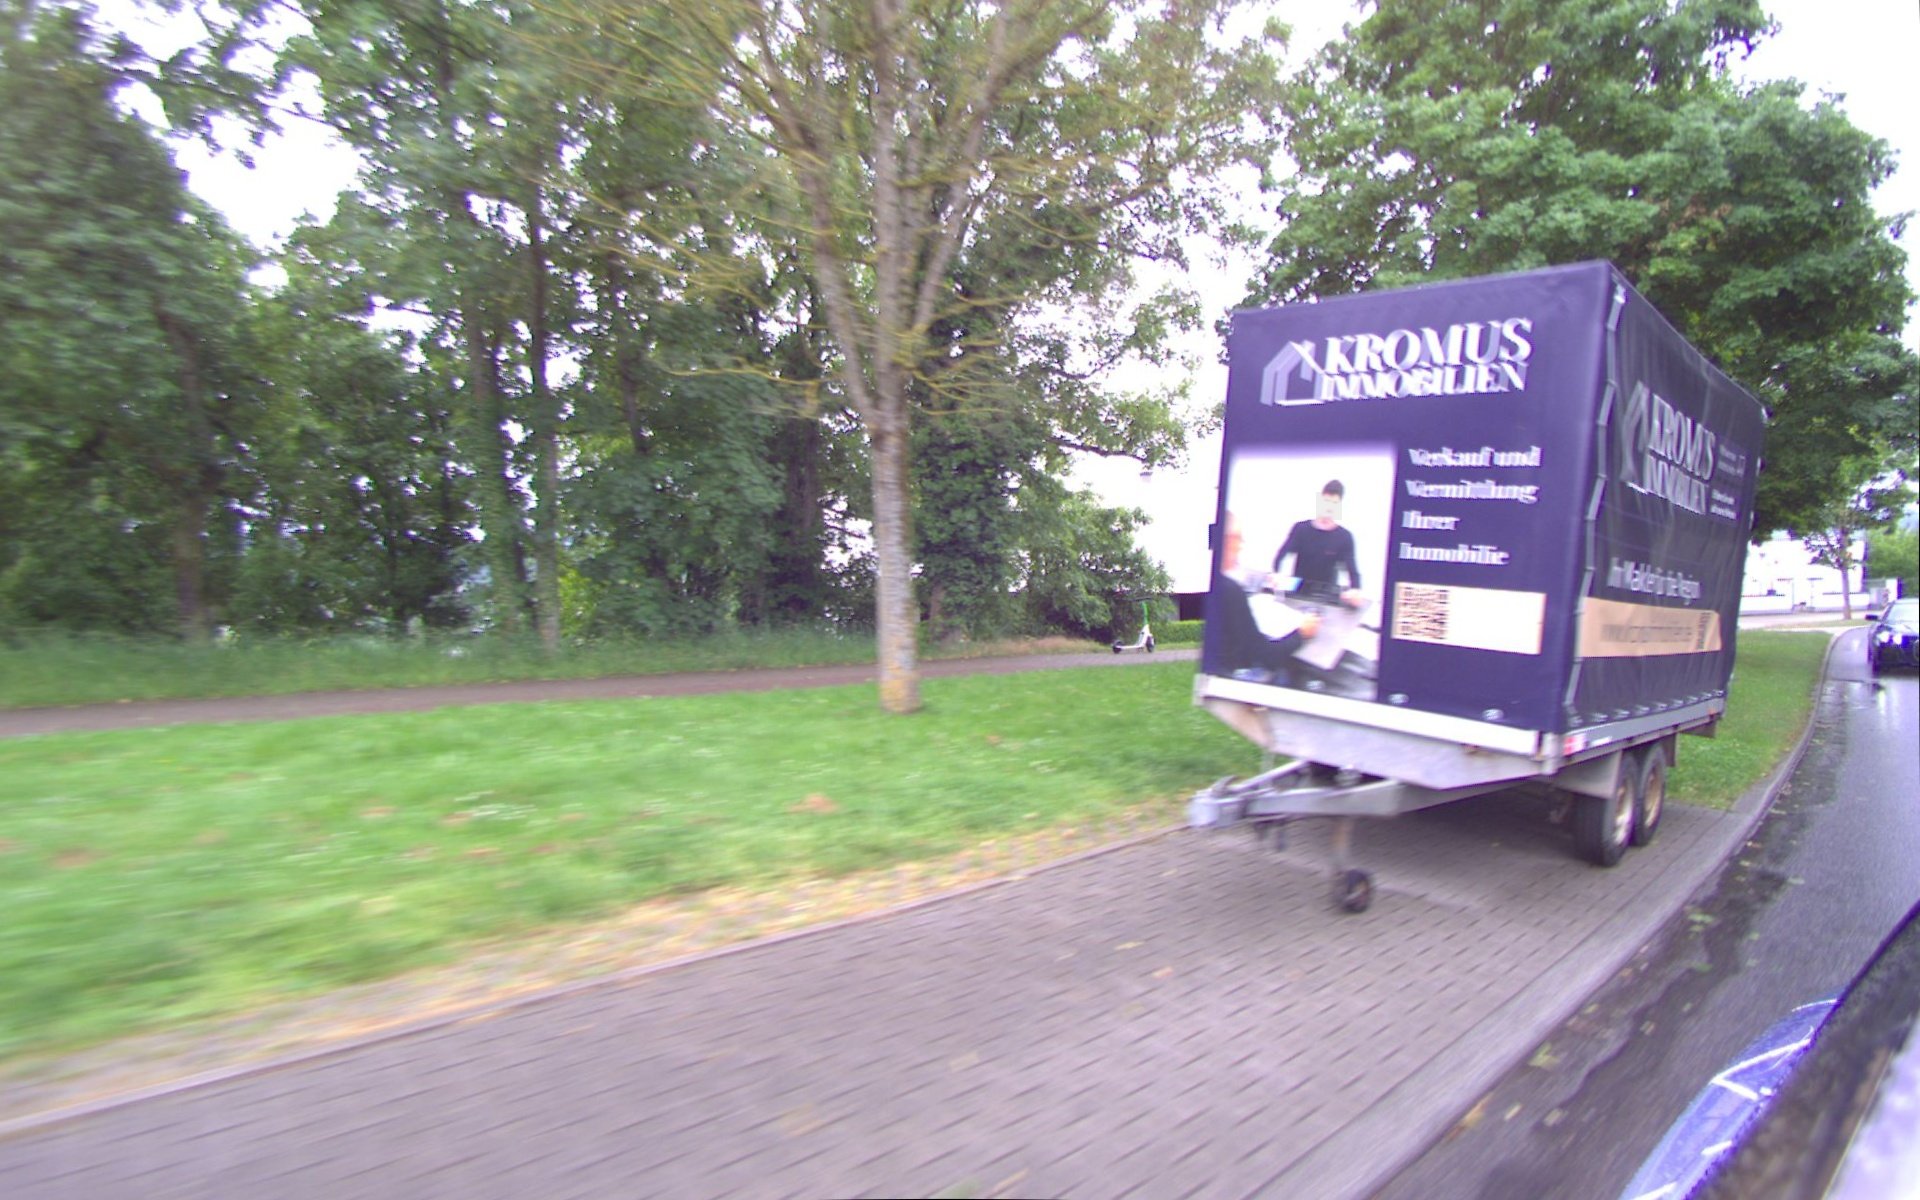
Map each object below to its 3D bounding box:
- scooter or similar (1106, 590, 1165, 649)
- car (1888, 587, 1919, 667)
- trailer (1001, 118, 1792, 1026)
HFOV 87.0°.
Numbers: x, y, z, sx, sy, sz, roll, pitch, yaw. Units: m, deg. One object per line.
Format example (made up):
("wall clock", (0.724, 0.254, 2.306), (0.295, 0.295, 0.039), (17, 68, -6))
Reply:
("scooter or similar", (3.629, 0.382, 20.908), (1.278, 1.161, 0.464), (0, 2, -40))
("car", (19.840, 0.515, 20.066), (3.908, 1.486, 1.813), (-1, 2, -43))
("trailer", (2.935, -0.165, 5.805), (5.515, 2.841, 1.997), (0, 6, -44))
